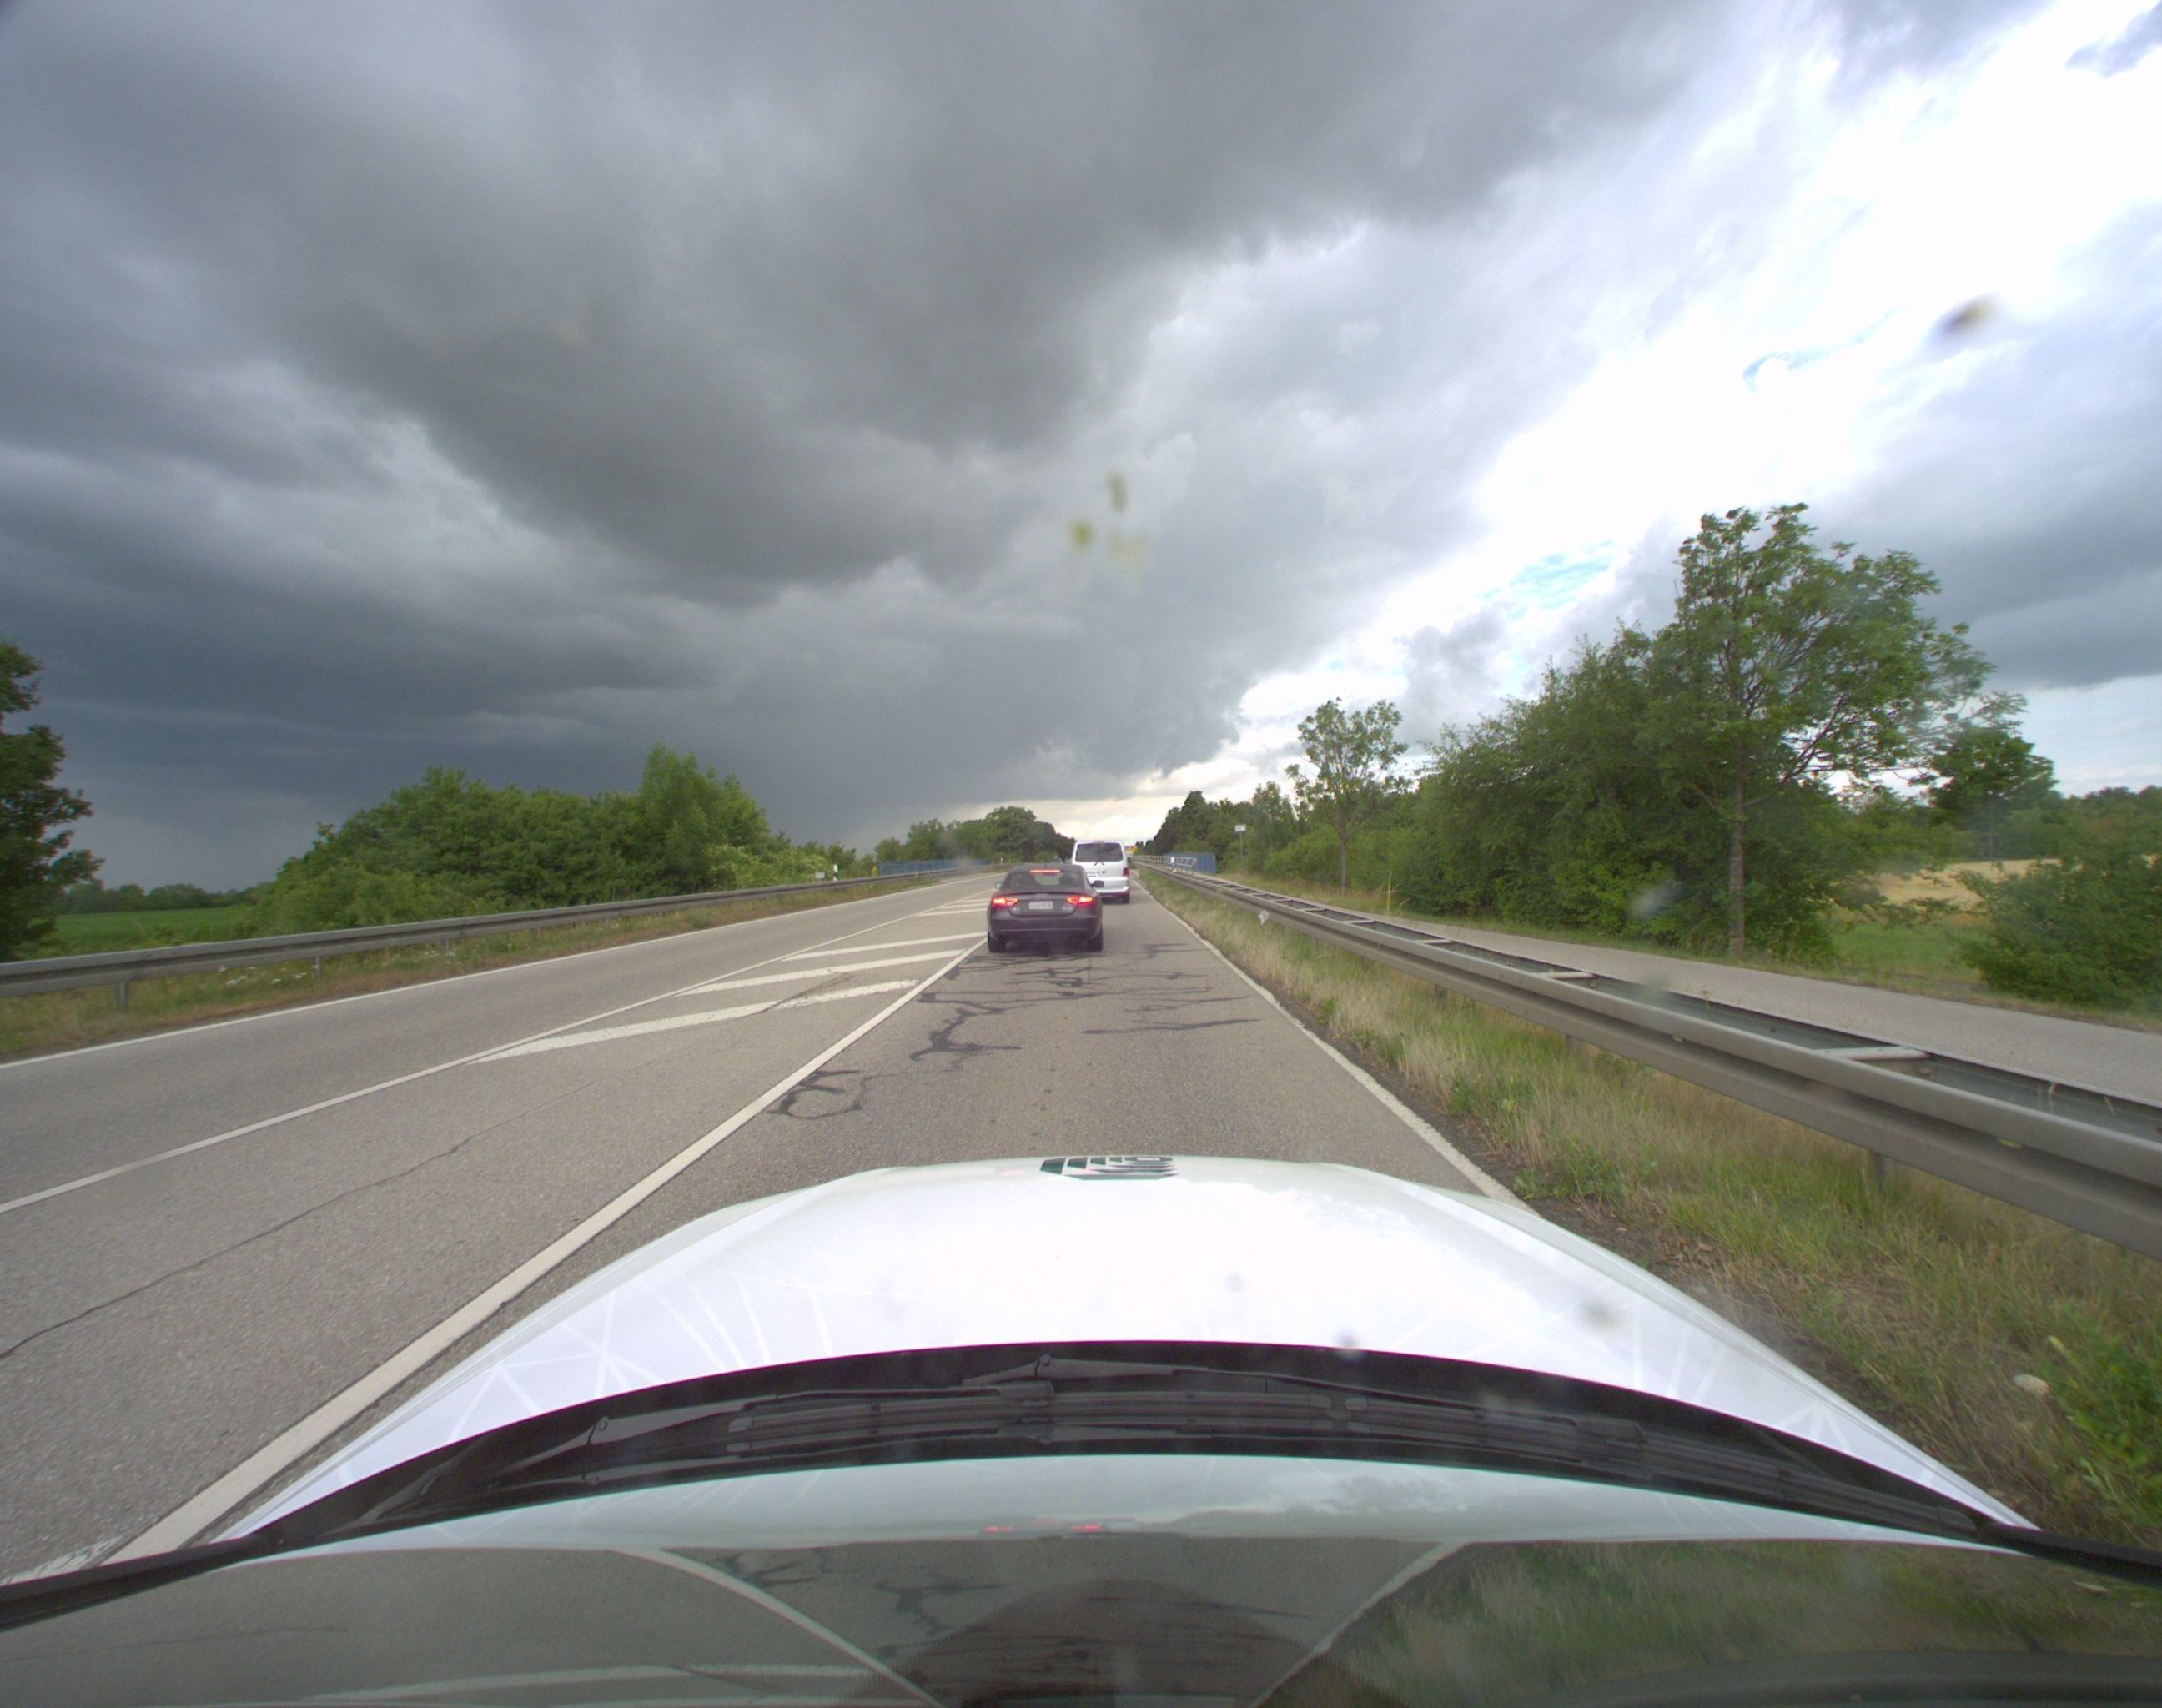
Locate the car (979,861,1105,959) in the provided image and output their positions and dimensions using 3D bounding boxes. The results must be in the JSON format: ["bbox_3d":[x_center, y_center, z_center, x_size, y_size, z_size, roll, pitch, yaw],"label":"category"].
[{"bbox_3d":[-0.522,0.842,14.061,1.815,1.381,4.073,-2,0,2],"label":"car"}]

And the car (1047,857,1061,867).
[{"bbox_3d":[-3.849,1.139,117.147,1.793,1.450,4.446,-2,0,0],"label":"car"}]

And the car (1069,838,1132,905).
[{"bbox_3d":[0.641,0.518,26.240,1.821,1.935,4.001,-2,0,2],"label":"car"}]
